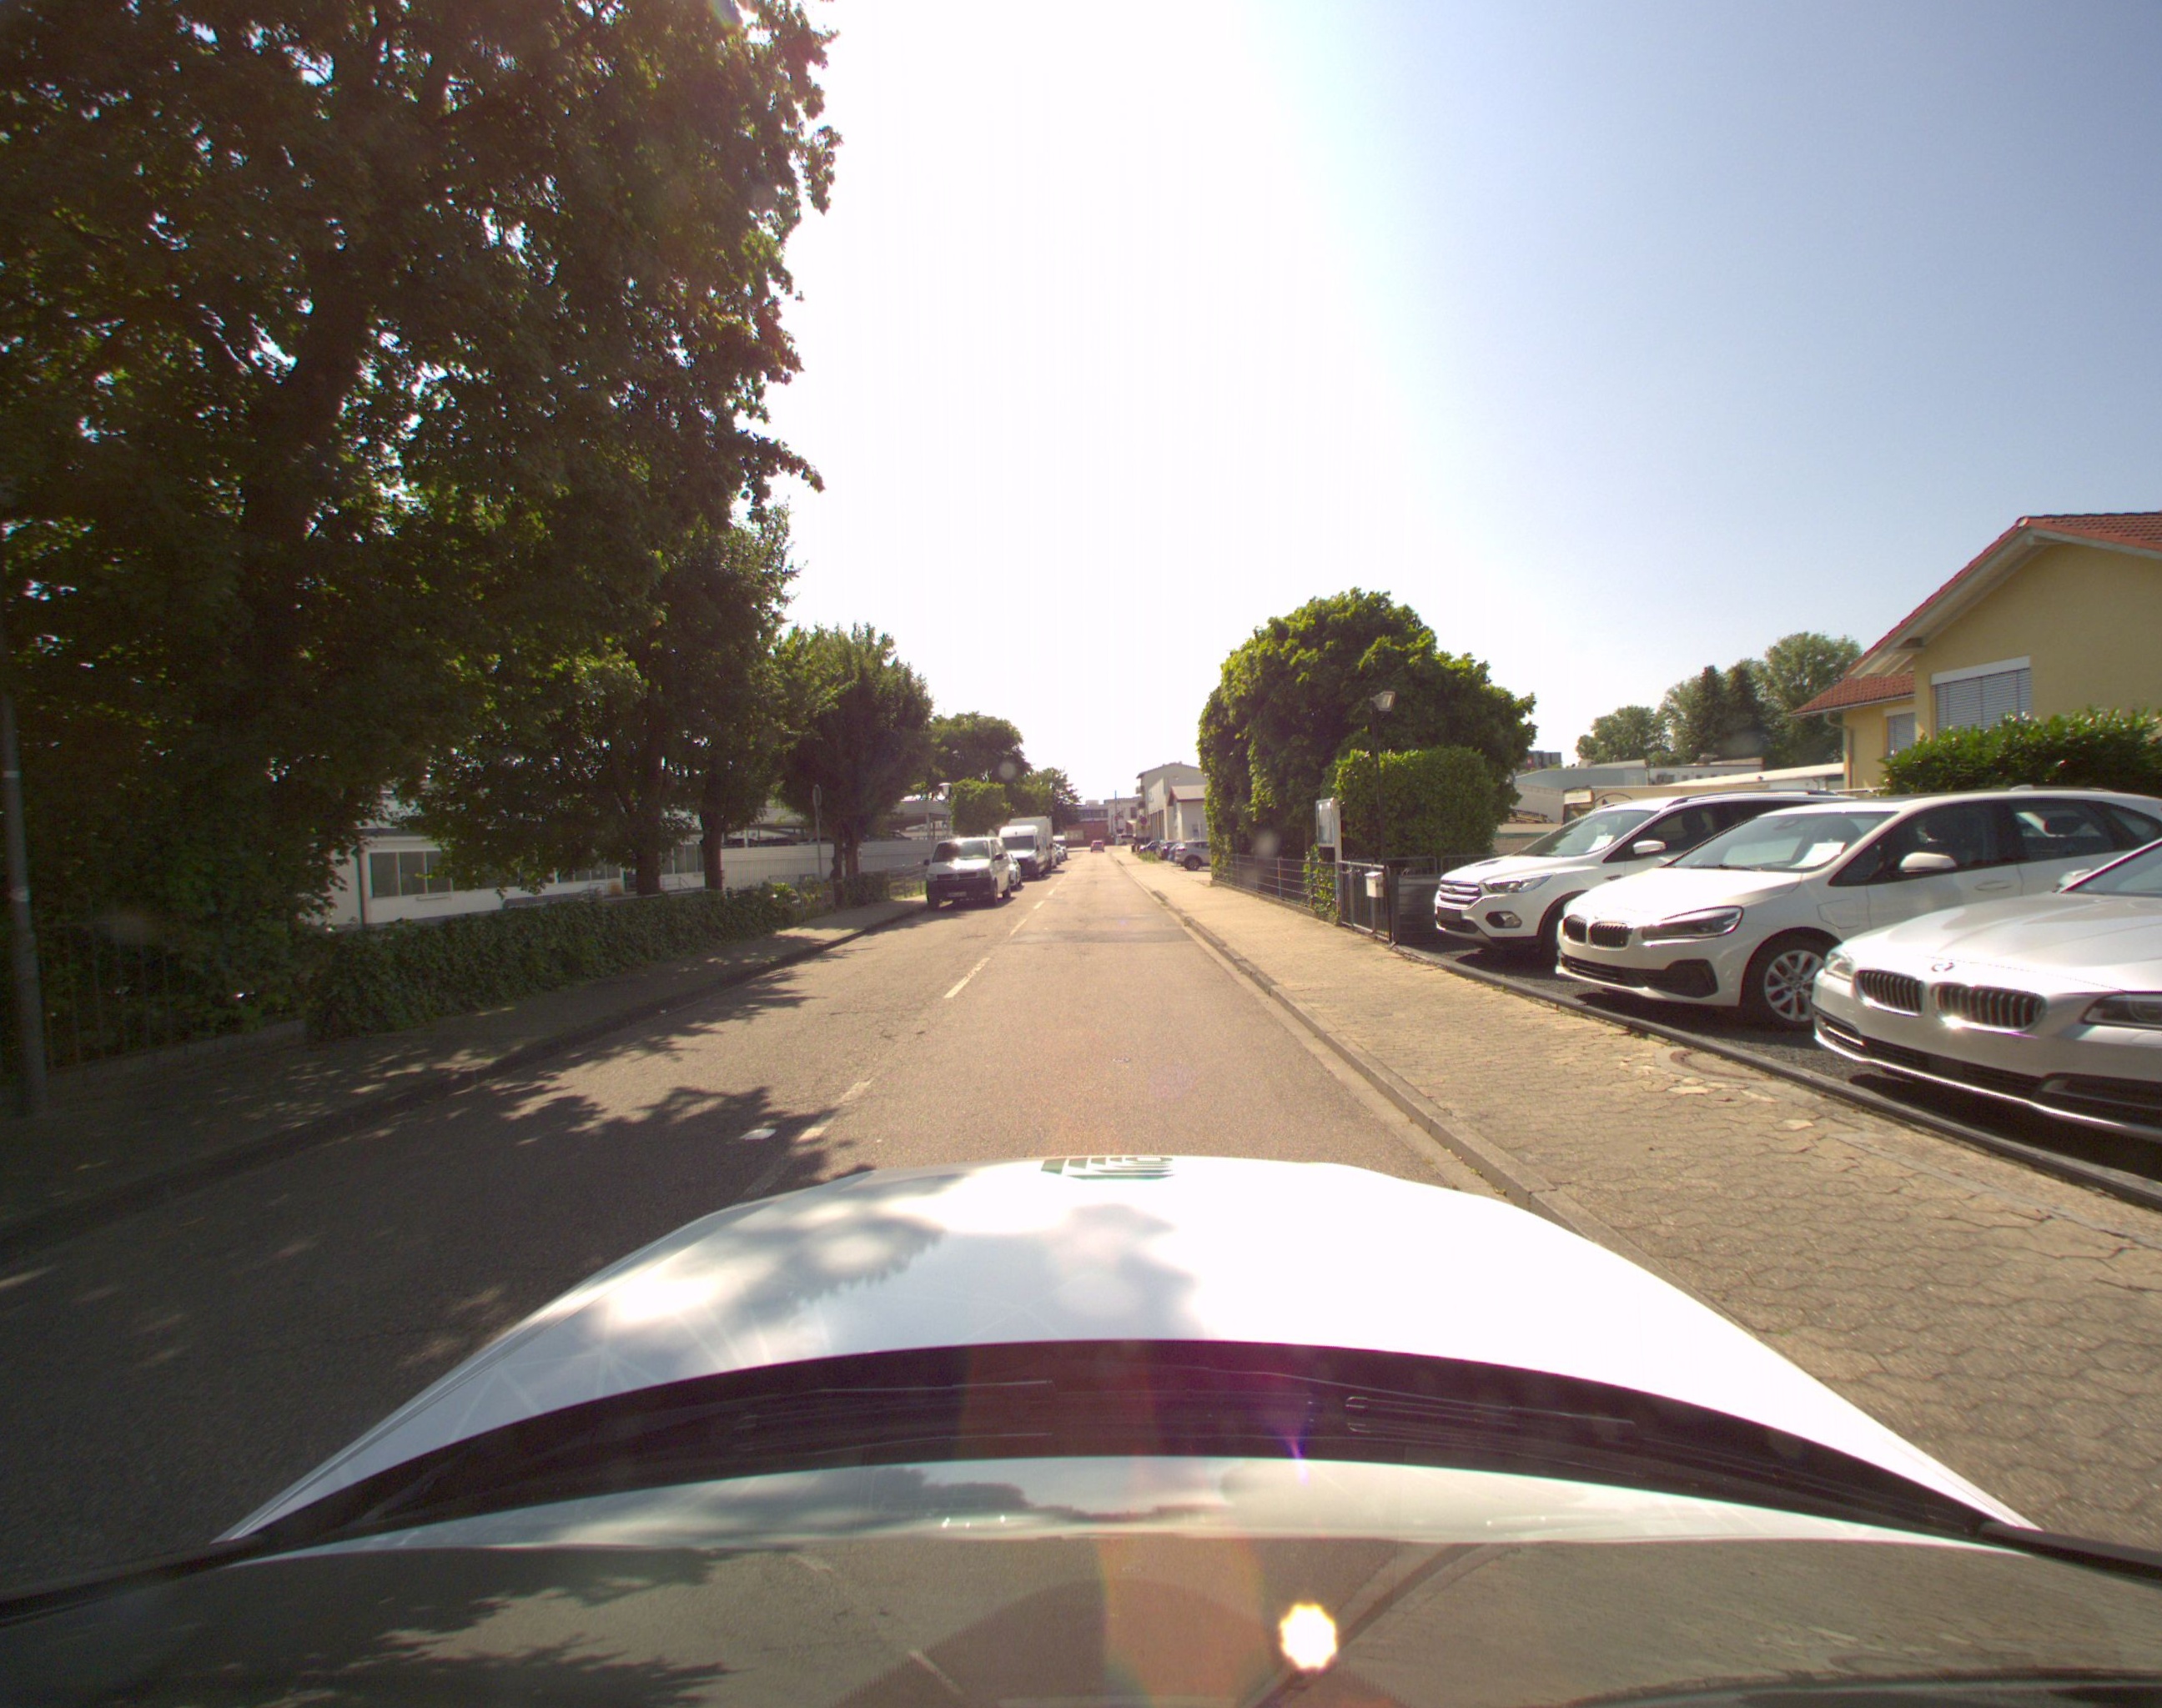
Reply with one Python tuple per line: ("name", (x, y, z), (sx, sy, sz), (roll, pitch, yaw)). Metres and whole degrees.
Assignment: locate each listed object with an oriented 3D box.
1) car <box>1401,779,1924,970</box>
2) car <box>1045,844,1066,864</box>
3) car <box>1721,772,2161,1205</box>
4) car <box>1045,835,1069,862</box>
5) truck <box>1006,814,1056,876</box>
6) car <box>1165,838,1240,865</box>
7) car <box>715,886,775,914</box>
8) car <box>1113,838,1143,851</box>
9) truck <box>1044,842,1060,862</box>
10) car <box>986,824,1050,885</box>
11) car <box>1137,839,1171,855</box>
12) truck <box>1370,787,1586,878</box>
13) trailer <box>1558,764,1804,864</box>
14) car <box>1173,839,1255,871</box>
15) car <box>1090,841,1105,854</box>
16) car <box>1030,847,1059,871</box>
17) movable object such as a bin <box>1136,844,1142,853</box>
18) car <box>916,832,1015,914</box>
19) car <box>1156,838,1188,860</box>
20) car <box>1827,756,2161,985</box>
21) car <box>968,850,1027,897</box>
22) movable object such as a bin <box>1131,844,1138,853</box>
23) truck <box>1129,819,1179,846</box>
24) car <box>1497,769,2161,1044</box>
("car", (6.056, 0.188, 8.861), (4.391, 1.653, 1.842), (-3, 0, -2))
("car", (-2.316, -0.041, 73.854), (1.701, 1.624, 3.968), (-4, 1, -4))
("car", (5.899, 0.300, 3.723), (4.389, 1.497, 1.897), (-5, 0, 0))
("car", (-2.260, -0.527, 79.027), (1.999, 2.366, 5.228), (-5, 1, -1))
("truck", (-2.963, -0.509, 50.052), (2.678, 3.366, 7.125), (-3, 0, -2))
("car", (7.427, -0.153, 50.057), (4.338, 1.441, 1.892), (-3, 1, 0))
("car", (-22.002, 2.976, 53.492), (1.984, 1.442, 4.006), (-3, 1, 5))
("car", (8.094, -1.663, 140.118), (4.668, 1.957, 1.904), (-4, -1, -18))
("truck", (-2.486, -0.218, 70.242), (1.135, 1.622, 3.140), (-5, 1, -1))
("car", (-2.963, 0.014, 40.126), (2.160, 2.595, 6.924), (-4, 0, 2))
("car", (7.240, -0.750, 80.689), (3.241, 1.398, 1.674), (-3, 1, 1))
("truck", (17.782, -0.939, 36.916), (8.240, 3.611, 2.956), (-2, 0, 3))
("trailer", (26.374, -1.696, 36.185), (8.291, 3.862, 3.073), (-3, 0, 6))
("car", (7.145, 0.036, 44.002), (4.187, 1.682, 1.767), (0, 1, 0))
("car", (2.135, -0.870, 107.182), (1.884, 1.685, 3.958), (0, 0, 1))
("car", (-2.496, 0.328, 56.721), (1.735, 1.521, 4.311), (-3, 1, 1))
("movable object such as a bin", (6.288, -0.569, 88.711), (0.510, 0.946, 0.489), (-3, 1, 12))
("car", (-3.269, 0.486, 24.137), (1.964, 2.013, 5.057), (-4, 0, 1))
("car", (7.034, -0.420, 63.250), (1.852, 1.567, 4.952), (-3, 1, 0))
("car", (9.779, 0.120, 7.686), (1.987, 1.860, 3.789), (-2, 0, 0))
("car", (-3.123, 0.680, 31.312), (1.709, 1.543, 4.400), (-4, 0, 0))
("movable object such as a bin", (5.787, -0.564, 88.304), (0.562, 0.946, 0.561), (-3, 1, 34))
("truck", (11.786, -3.439, 131.839), (7.348, 3.644, 2.763), (-6, 1, -5))
("car", (5.973, 0.306, 6.426), (4.395, 1.527, 1.894), (-5, 0, -5))
